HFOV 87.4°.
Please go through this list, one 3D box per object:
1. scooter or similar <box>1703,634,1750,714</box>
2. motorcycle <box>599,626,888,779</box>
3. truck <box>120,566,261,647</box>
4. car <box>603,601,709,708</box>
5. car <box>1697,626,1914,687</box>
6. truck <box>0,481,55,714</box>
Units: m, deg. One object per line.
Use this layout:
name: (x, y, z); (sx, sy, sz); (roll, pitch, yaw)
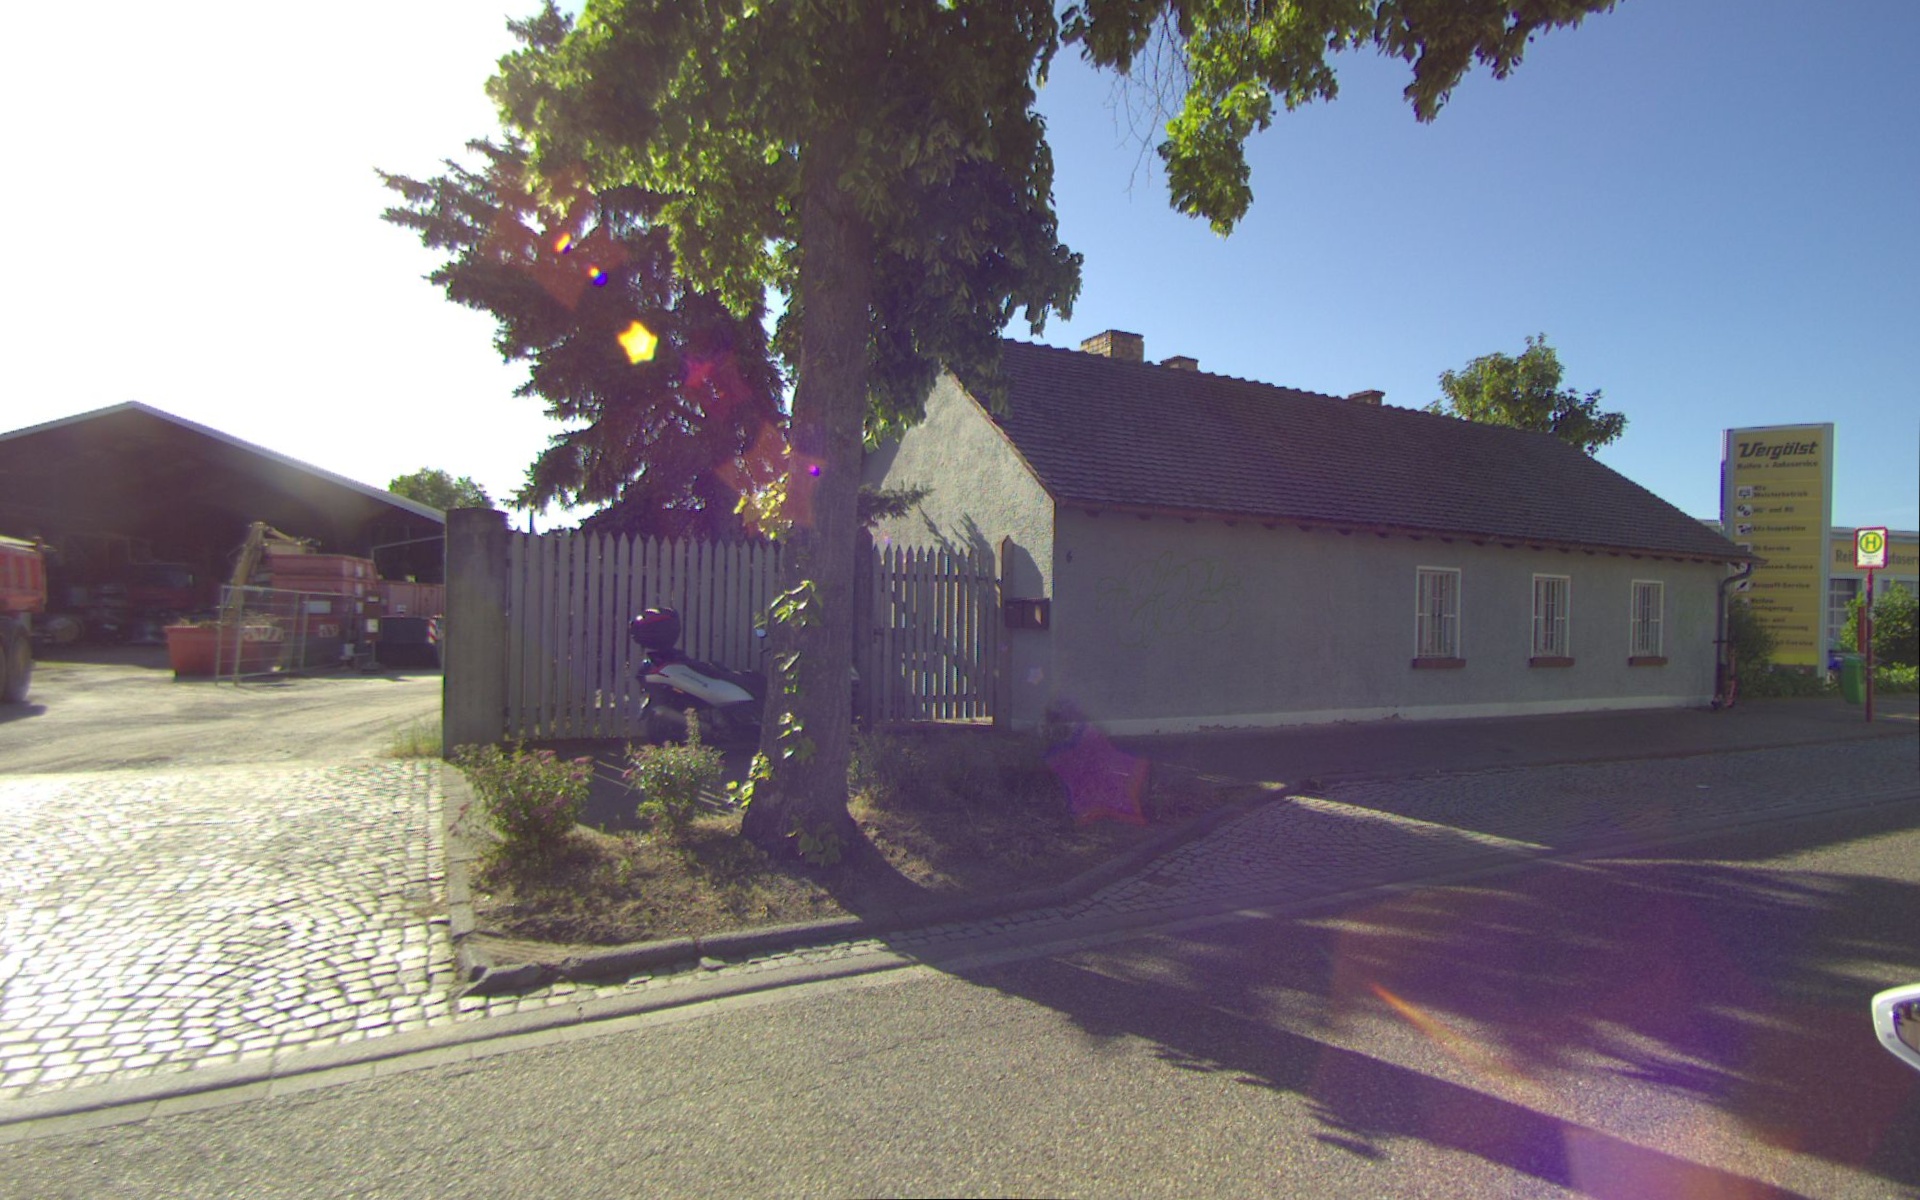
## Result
scooter or similar: (13.014, 1.223, 17.040); (0.477, 1.287, 1.569); (0, -1, 43)
motorcycle: (-1.963, 0.885, 9.306); (2.509, 1.250, 0.696); (1, 1, -30)
truck: (-32.274, 0.315, 42.451); (2.457, 3.132, 6.636); (1, -1, -17)
car: (-6.414, 1.051, 20.928); (1.887, 1.960, 4.457); (1, -1, -19)
car: (23.444, 1.508, 28.083); (1.966, 1.528, 4.347); (1, -1, -14)
truck: (-14.838, -0.067, 13.286); (2.870, 3.383, 7.372); (1, -1, -31)
